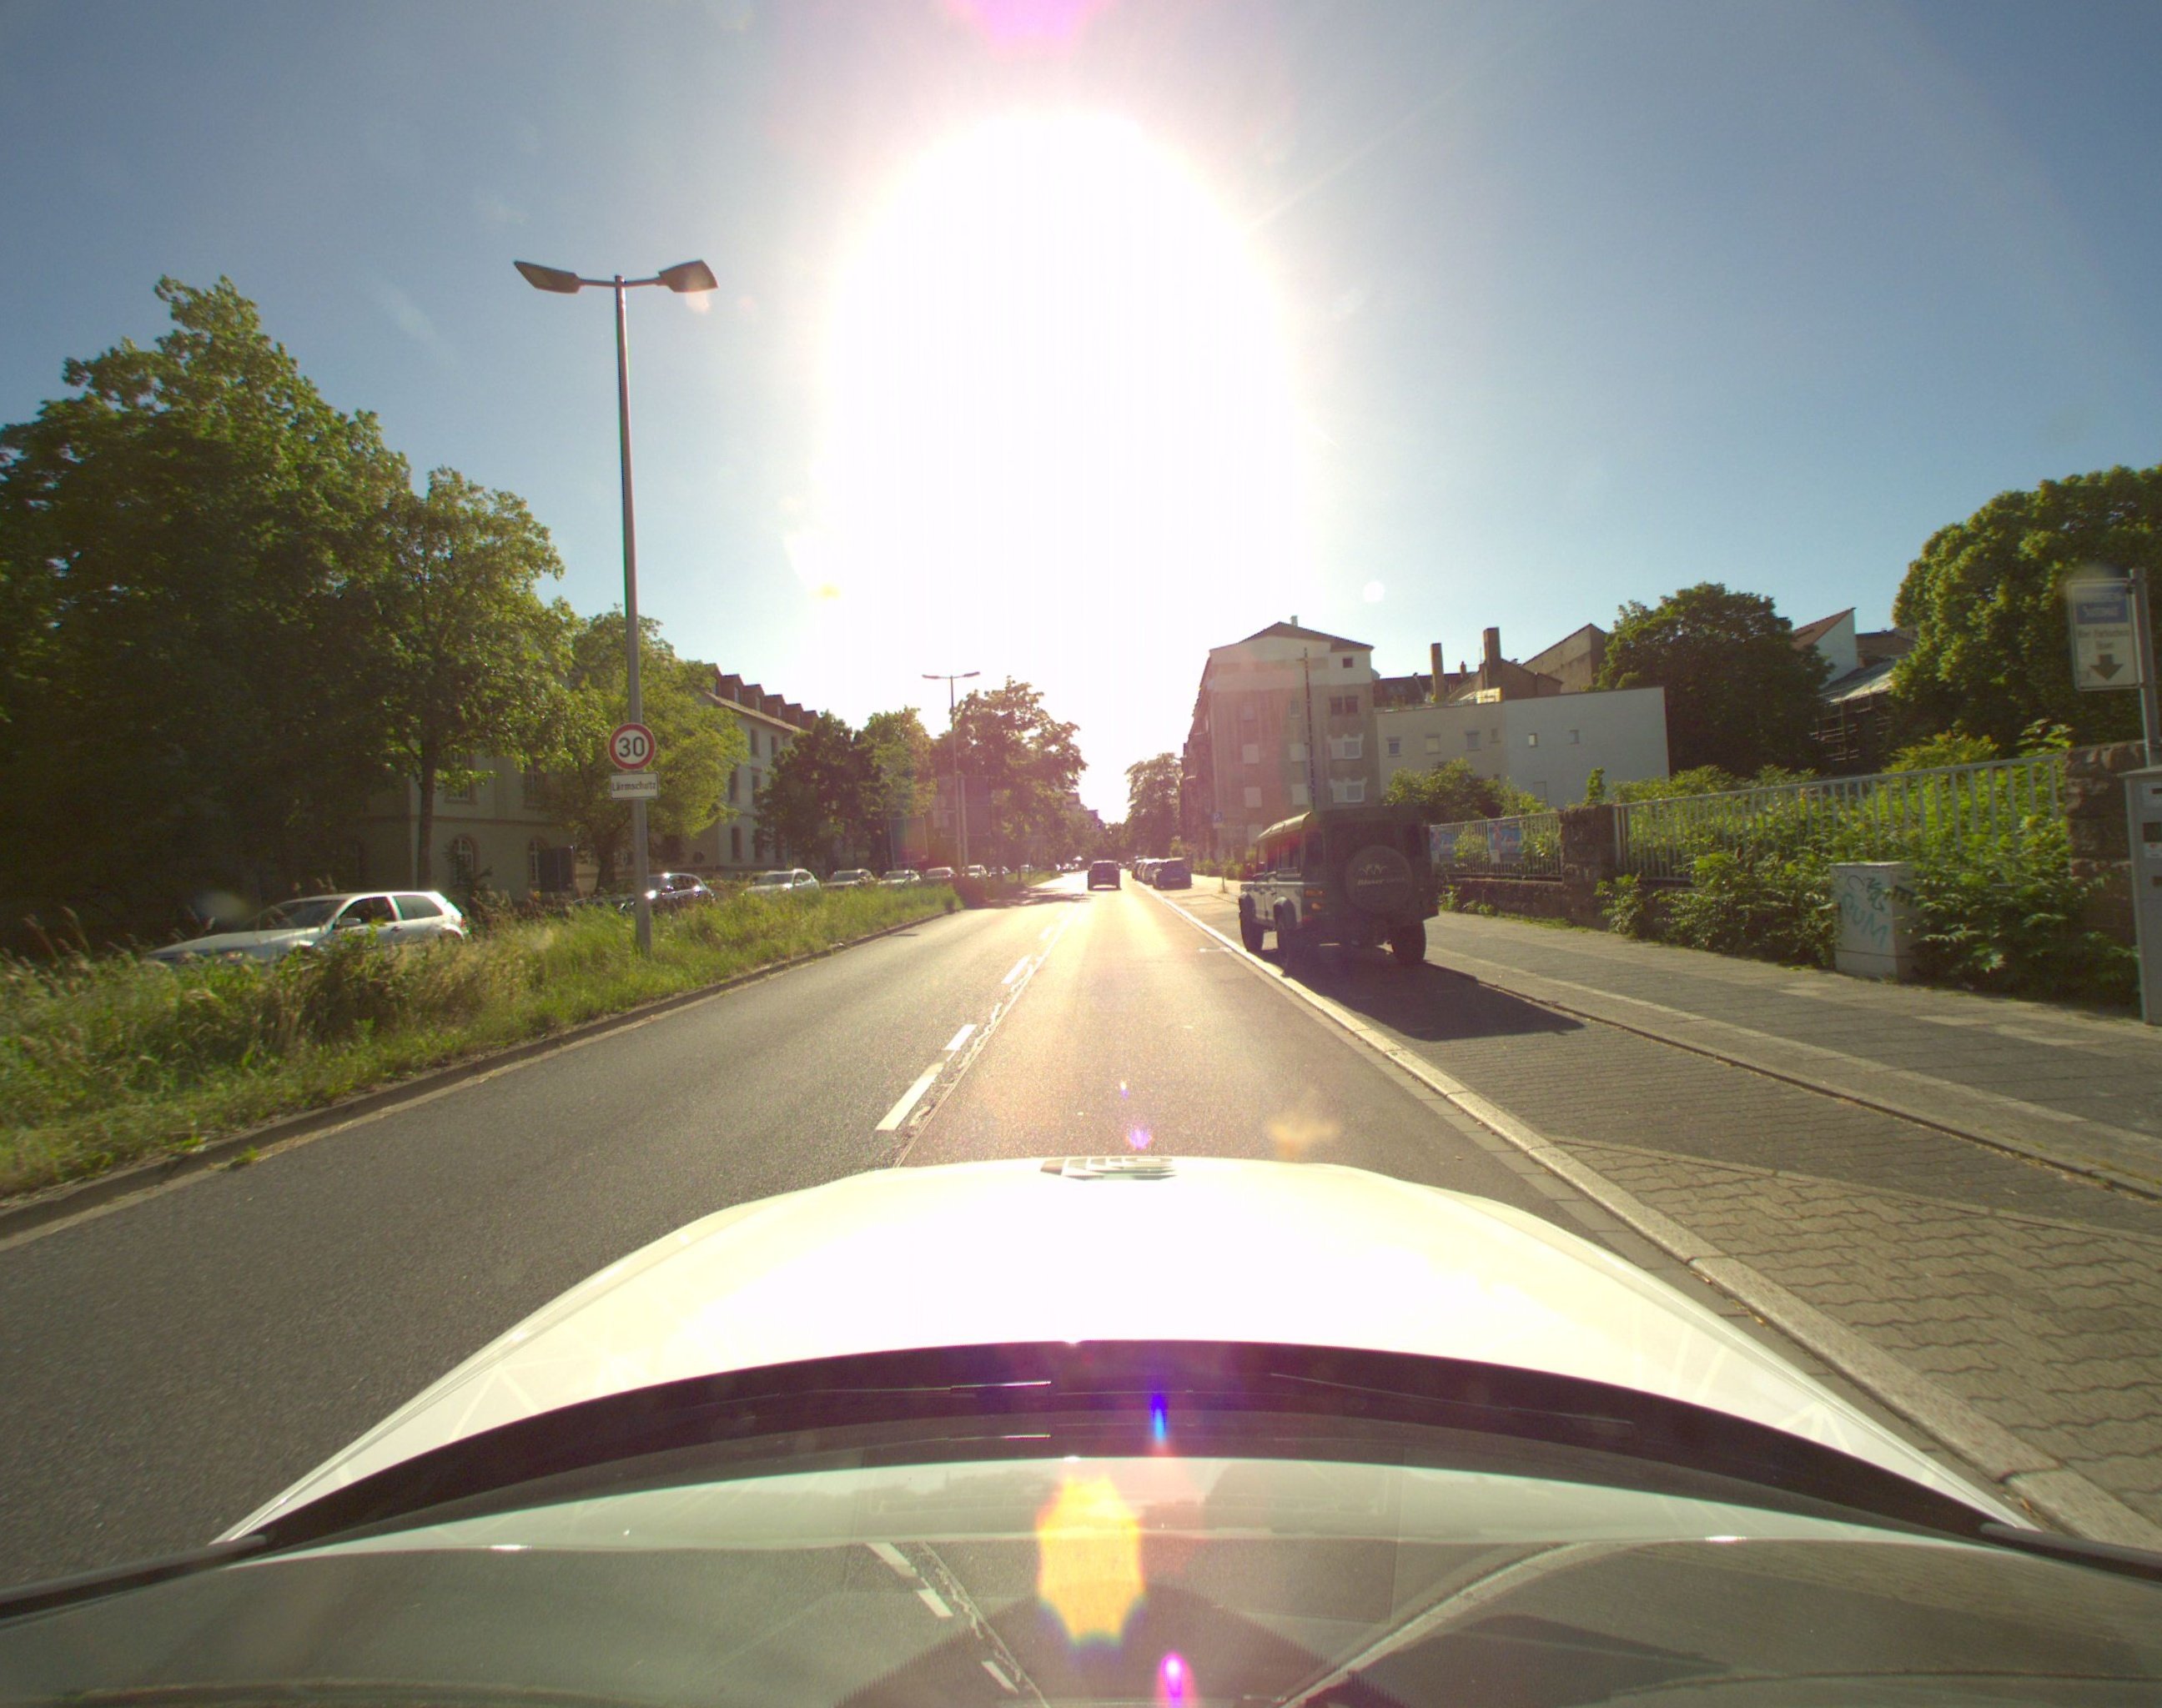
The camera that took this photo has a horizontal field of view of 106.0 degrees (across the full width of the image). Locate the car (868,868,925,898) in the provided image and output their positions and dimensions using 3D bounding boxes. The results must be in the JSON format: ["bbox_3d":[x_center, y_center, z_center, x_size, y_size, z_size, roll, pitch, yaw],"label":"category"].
[{"bbox_3d":[-10.360,1.608,46.113,1.831,1.519,4.670,-3,-1,3],"label":"car"}]

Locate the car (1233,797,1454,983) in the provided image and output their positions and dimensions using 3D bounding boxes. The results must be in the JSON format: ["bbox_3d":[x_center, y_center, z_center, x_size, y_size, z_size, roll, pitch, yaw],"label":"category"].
[{"bbox_3d":[3.433,0.452,11.676,1.654,2.014,4.778,-4,-1,2],"label":"car"}]

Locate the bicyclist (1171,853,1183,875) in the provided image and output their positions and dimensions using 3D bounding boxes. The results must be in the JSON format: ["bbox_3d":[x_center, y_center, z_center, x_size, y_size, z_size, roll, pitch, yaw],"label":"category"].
[{"bbox_3d":[6.890,0.718,58.529,0.738,1.580,1.101,-2,0,4],"label":"bicyclist"}]

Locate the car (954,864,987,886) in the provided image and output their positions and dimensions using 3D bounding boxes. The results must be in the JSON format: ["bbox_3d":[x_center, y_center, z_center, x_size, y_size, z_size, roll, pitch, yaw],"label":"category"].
[{"bbox_3d":[-8.980,1.728,66.700,1.894,1.626,4.537,-4,-1,1],"label":"car"}]

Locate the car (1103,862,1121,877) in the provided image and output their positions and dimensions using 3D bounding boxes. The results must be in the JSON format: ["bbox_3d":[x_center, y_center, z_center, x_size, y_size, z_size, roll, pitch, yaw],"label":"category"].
[{"bbox_3d":[3.159,1.562,83.922,1.785,1.520,3.850,-2,-1,2],"label":"car"}]

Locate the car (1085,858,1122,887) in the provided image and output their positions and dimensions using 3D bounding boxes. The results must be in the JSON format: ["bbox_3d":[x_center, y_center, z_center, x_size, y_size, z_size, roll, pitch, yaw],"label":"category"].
[{"bbox_3d":[1.215,1.003,45.041,1.889,1.519,3.998,-1,-1,-1],"label":"car"}]

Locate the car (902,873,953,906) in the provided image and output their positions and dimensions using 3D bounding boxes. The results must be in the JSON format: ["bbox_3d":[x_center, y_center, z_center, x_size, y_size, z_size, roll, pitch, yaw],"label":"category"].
[{"bbox_3d":[-8.106,1.925,43.435,1.746,1.618,4.324,-2,-4,2],"label":"car"}]

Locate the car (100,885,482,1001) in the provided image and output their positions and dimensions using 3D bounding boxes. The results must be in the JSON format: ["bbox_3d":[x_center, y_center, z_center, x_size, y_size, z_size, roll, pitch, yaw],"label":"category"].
[{"bbox_3d":[-11.952,1.245,12.832,1.789,1.352,4.258,-2,-1,1],"label":"car"}]

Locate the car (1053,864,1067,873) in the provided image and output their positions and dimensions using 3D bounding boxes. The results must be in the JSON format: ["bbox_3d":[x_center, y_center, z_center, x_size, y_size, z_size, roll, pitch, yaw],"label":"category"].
[{"bbox_3d":[-3.813,2.619,146.387,1.748,1.519,3.869,-3,-1,10],"label":"car"}]

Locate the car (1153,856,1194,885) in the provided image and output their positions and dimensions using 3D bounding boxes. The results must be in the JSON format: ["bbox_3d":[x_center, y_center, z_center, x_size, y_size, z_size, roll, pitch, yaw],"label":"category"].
[{"bbox_3d":[5.304,0.942,47.015,1.663,1.460,3.983,-6,0,-2],"label":"car"}]

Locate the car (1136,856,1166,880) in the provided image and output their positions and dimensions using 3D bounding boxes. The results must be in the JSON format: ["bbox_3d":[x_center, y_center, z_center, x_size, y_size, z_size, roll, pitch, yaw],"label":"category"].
[{"bbox_3d":[4.872,0.974,57.379,1.663,1.519,3.659,-3,-1,-1],"label":"car"}]

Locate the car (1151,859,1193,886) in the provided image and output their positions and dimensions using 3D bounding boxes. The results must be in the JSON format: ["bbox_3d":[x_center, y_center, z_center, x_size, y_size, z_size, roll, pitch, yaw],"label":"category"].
[{"bbox_3d":[4.684,0.949,42.299,1.662,1.182,3.900,-6,0,0],"label":"car"}]

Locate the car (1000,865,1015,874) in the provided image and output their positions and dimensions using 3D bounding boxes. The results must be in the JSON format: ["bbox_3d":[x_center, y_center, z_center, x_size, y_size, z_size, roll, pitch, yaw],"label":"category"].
[{"bbox_3d":[-13.418,2.854,148.720,1.980,1.662,3.976,-3,-1,-18],"label":"car"}]

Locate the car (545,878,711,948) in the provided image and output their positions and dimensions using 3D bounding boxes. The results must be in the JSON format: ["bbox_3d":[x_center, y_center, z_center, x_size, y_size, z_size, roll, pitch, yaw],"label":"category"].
[{"bbox_3d":[-11.742,1.464,21.508,1.789,1.519,4.445,-2,-1,1],"label":"car"}]

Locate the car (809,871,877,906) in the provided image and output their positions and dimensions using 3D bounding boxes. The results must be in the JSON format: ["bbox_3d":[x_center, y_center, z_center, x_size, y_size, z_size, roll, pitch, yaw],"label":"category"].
[{"bbox_3d":[-11.110,1.634,38.344,1.789,1.519,4.259,-2,-2,2],"label":"car"}]

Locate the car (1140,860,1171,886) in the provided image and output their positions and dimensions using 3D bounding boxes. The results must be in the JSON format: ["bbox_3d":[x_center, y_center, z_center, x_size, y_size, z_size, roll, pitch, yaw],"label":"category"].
[{"bbox_3d":[4.711,1.177,51.840,1.603,1.446,3.659,-6,0,1],"label":"car"}]

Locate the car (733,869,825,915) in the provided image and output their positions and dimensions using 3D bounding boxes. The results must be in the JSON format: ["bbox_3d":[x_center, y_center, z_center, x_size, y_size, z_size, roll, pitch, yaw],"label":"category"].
[{"bbox_3d":[-11.371,1.387,30.944,1.789,1.519,4.258,-2,-1,1],"label":"car"}]

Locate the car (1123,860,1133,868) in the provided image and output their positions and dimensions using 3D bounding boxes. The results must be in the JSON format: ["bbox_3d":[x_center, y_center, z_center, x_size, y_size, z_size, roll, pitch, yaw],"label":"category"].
[{"bbox_3d":[9.831,2.129,170.107,1.912,1.640,4.004,-3,-1,4],"label":"car"}]

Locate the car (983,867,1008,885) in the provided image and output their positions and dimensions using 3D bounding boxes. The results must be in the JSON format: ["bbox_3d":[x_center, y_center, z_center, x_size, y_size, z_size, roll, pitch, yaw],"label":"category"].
[{"bbox_3d":[-8.180,2.090,77.909,1.789,1.519,4.087,-4,-2,1],"label":"car"}]

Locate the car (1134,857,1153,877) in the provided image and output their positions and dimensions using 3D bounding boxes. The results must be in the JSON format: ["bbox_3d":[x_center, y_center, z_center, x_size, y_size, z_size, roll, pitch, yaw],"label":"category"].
[{"bbox_3d":[6.251,1.238,81.507,1.811,1.844,4.369,-3,-1,5],"label":"car"}]
